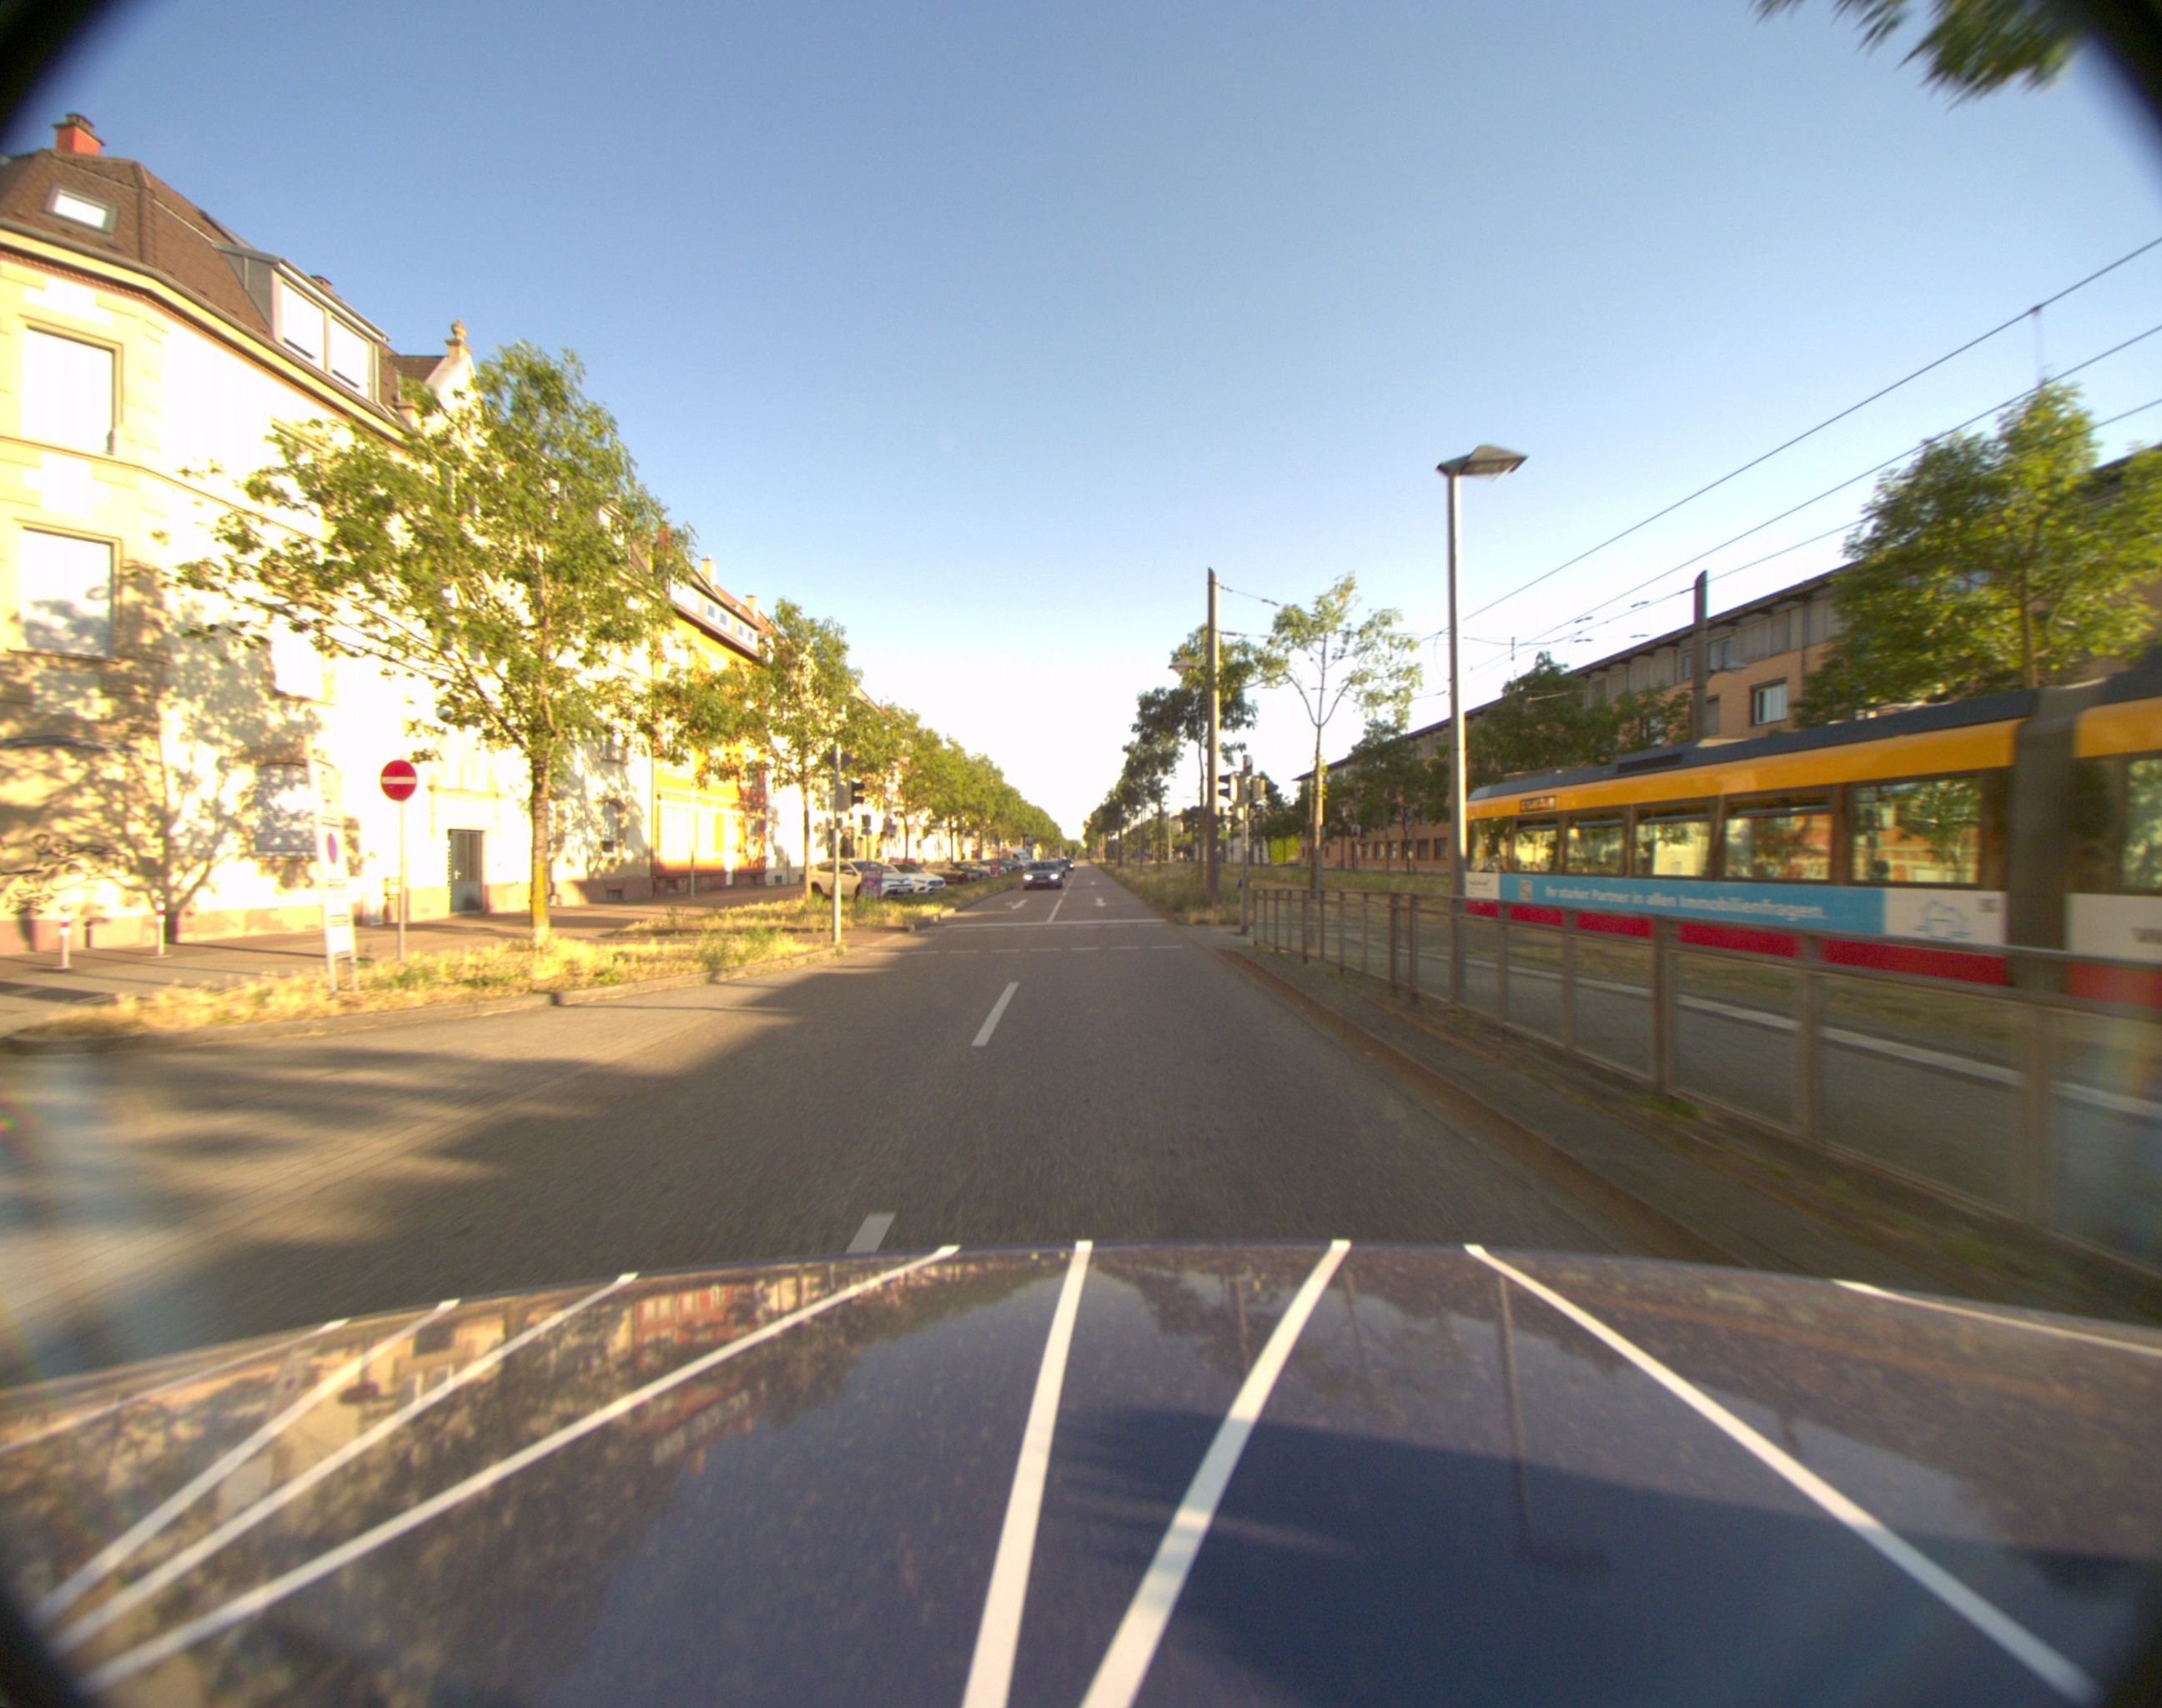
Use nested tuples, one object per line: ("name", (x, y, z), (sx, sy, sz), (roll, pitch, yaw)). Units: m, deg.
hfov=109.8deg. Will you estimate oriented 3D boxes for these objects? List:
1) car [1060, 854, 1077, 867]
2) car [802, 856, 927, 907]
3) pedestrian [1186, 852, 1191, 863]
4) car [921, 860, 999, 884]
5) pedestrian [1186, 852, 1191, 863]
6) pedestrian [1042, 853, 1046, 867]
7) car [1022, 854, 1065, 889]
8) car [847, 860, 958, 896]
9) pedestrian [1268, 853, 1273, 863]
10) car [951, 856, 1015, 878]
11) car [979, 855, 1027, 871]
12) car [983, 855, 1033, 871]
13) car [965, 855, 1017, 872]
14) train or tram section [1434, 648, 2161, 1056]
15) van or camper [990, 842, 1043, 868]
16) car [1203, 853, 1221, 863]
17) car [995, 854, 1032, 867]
("car", (-1.486, 0.760, 91.574), (1.870, 1.586, 3.952), (0, 0, 2))
("car", (-7.723, 0.923, 26.995), (4.420, 1.681, 1.920), (-1, 0, 36))
("pedestrian", (15.933, 0.504, 112.159), (0.515, 1.675, 0.548), (-1, 1, -27))
("car", (-7.309, 1.068, 45.773), (4.570, 1.340, 1.900), (0, 1, 33))
("pedestrian", (15.976, 0.519, 113.183), (0.515, 1.674, 0.549), (-1, -1, -28))
("pedestrian", (-5.450, 0.851, 112.464), (0.514, 2.002, 0.599), (0, 1, 0))
("car", (-1.874, 0.852, 39.076), (1.999, 1.655, 3.999), (-2, 0, -1))
("car", (-7.773, 0.997, 33.019), (4.542, 1.391, 2.035), (0, 1, 31))
("pedestrian", (27.669, 0.605, 111.025), (0.587, 1.359, 0.575), (0, 1, -6))
("car", (-7.228, 0.915, 55.728), (4.633, 1.501, 1.851), (0, 0, 36))
("car", (-7.124, 0.841, 69.150), (4.042, 1.429, 1.730), (-1, 1, 29))
("car", (-6.948, 0.871, 72.163), (4.424, 1.415, 1.926), (-1, 0, 33))
("car", (-7.912, 0.836, 66.474), (4.424, 1.408, 1.889), (-1, 0, 37))
("train or tram section", (10.855, -0.050, 12.381), (3.439, 3.410, 15.027), (0, 0, 1))
("van or camper", (-7.258, 0.141, 85.279), (5.635, 2.796, 2.209), (0, 1, 32))
("car", (18.454, 0.608, 107.122), (1.794, 1.368, 4.000), (0, 0, 0))
("car", (-7.307, 0.677, 82.058), (3.912, 1.395, 1.799), (0, 0, 39))
